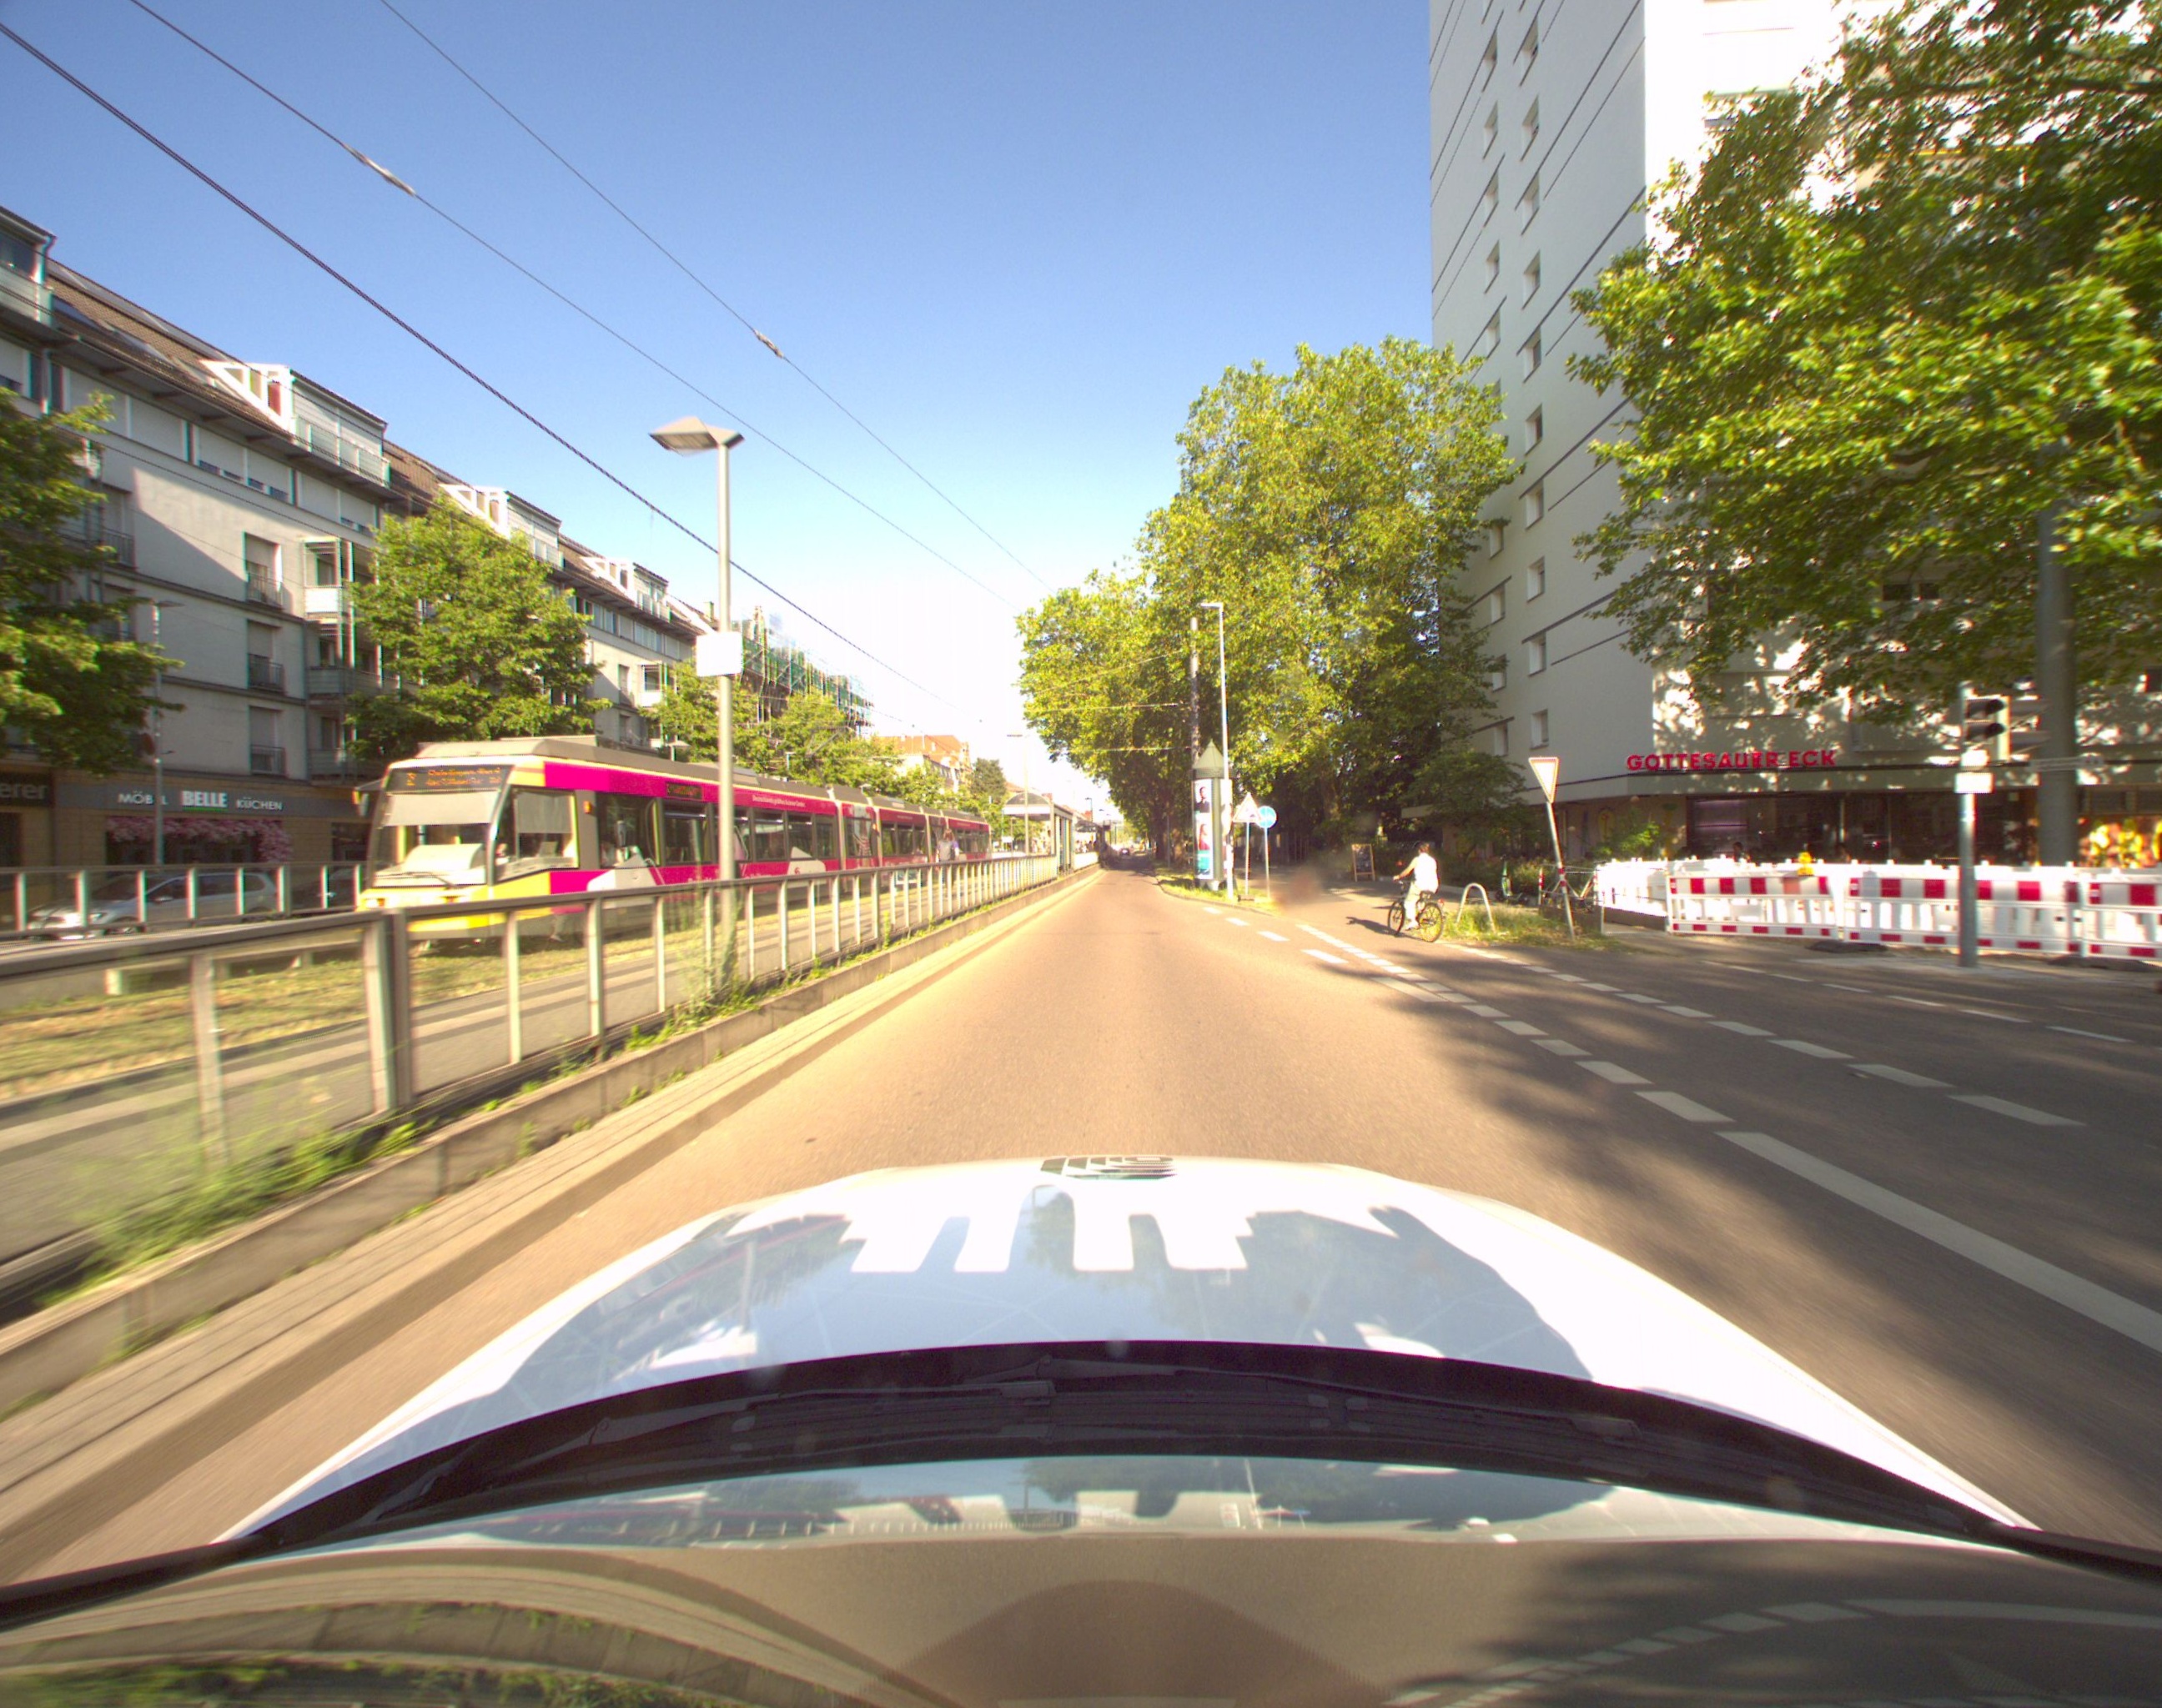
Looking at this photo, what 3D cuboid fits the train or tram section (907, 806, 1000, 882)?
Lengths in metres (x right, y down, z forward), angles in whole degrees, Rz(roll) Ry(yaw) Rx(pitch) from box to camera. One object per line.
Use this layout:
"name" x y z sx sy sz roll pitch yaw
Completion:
"train or tram section" -6.783 -0.540 44.948 2.857 3.685 9.696 -1 0 4

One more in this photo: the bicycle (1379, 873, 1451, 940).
"bicycle" 5.822 0.888 14.289 0.600 1.026 1.768 -1 0 3

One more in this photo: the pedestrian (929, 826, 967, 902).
"pedestrian" -2.915 0.205 17.932 0.627 1.609 0.983 1 0 2

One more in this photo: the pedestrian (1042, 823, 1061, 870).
"pedestrian" -1.218 -0.322 33.657 0.666 1.902 0.825 1 0 3

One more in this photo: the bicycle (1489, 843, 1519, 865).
"bicycle" 22.947 -0.001 44.186 0.785 1.177 1.822 1 0 4

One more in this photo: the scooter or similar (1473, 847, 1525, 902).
"scooter or similar" 10.075 0.486 19.650 0.558 1.257 1.290 -2 0 0

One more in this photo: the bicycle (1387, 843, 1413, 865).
"bicycle" 17.509 -0.015 44.757 0.785 1.177 1.822 1 0 4

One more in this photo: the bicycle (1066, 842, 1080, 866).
"bicycle" -0.379 -0.019 40.427 0.511 1.133 2.106 1 0 4

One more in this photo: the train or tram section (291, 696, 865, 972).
"train or tram section" -8.774 -0.322 18.303 2.856 3.675 14.578 -1 0 4

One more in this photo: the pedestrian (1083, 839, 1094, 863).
"pedestrian" 0.497 -0.205 53.675 0.675 1.562 0.852 1 0 3

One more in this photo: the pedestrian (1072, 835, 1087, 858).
"pedestrian" -0.108 -0.549 59.682 0.913 1.722 0.625 1 0 -30

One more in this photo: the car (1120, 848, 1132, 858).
"car" 7.965 -0.115 143.844 1.985 1.684 4.005 1 1 4

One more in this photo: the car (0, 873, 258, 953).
"car" -22.612 1.321 19.499 1.798 1.578 3.789 1 1 4

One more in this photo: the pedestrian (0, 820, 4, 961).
"pedestrian" -12.586 0.410 8.688 0.896 1.580 0.958 1 0 1

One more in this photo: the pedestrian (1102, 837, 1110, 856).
"pedestrian" 2.279 -0.670 74.351 0.676 1.690 0.895 1 0 4

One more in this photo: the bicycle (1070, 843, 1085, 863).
"bicycle" -0.188 -0.076 46.406 0.734 1.133 2.033 1 0 4

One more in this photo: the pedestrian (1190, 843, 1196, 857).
"pedestrian" 13.621 -0.470 98.890 0.625 1.656 0.740 -2 0 4

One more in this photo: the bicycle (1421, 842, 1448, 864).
"bicycle" 19.267 -0.055 44.470 0.785 1.177 1.822 1 0 4

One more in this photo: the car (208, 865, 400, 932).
"car" -22.366 1.211 23.675 1.798 1.677 3.789 1 1 4

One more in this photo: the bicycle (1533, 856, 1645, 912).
"bicycle" 10.527 0.592 16.953 0.606 1.026 1.935 -2 2 -28

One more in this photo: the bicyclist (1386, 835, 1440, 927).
"bicyclist" 5.818 0.455 14.313 0.600 1.551 0.861 -1 0 3

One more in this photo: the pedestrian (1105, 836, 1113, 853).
"pedestrian" 2.837 -0.991 81.492 0.753 1.690 0.679 1 0 4

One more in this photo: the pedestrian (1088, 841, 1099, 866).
"pedestrian" 0.882 -0.024 57.043 0.761 1.758 0.695 1 0 3

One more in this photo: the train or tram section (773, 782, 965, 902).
"train or tram section" -7.688 -0.434 32.832 2.856 3.685 14.578 -1 0 4
